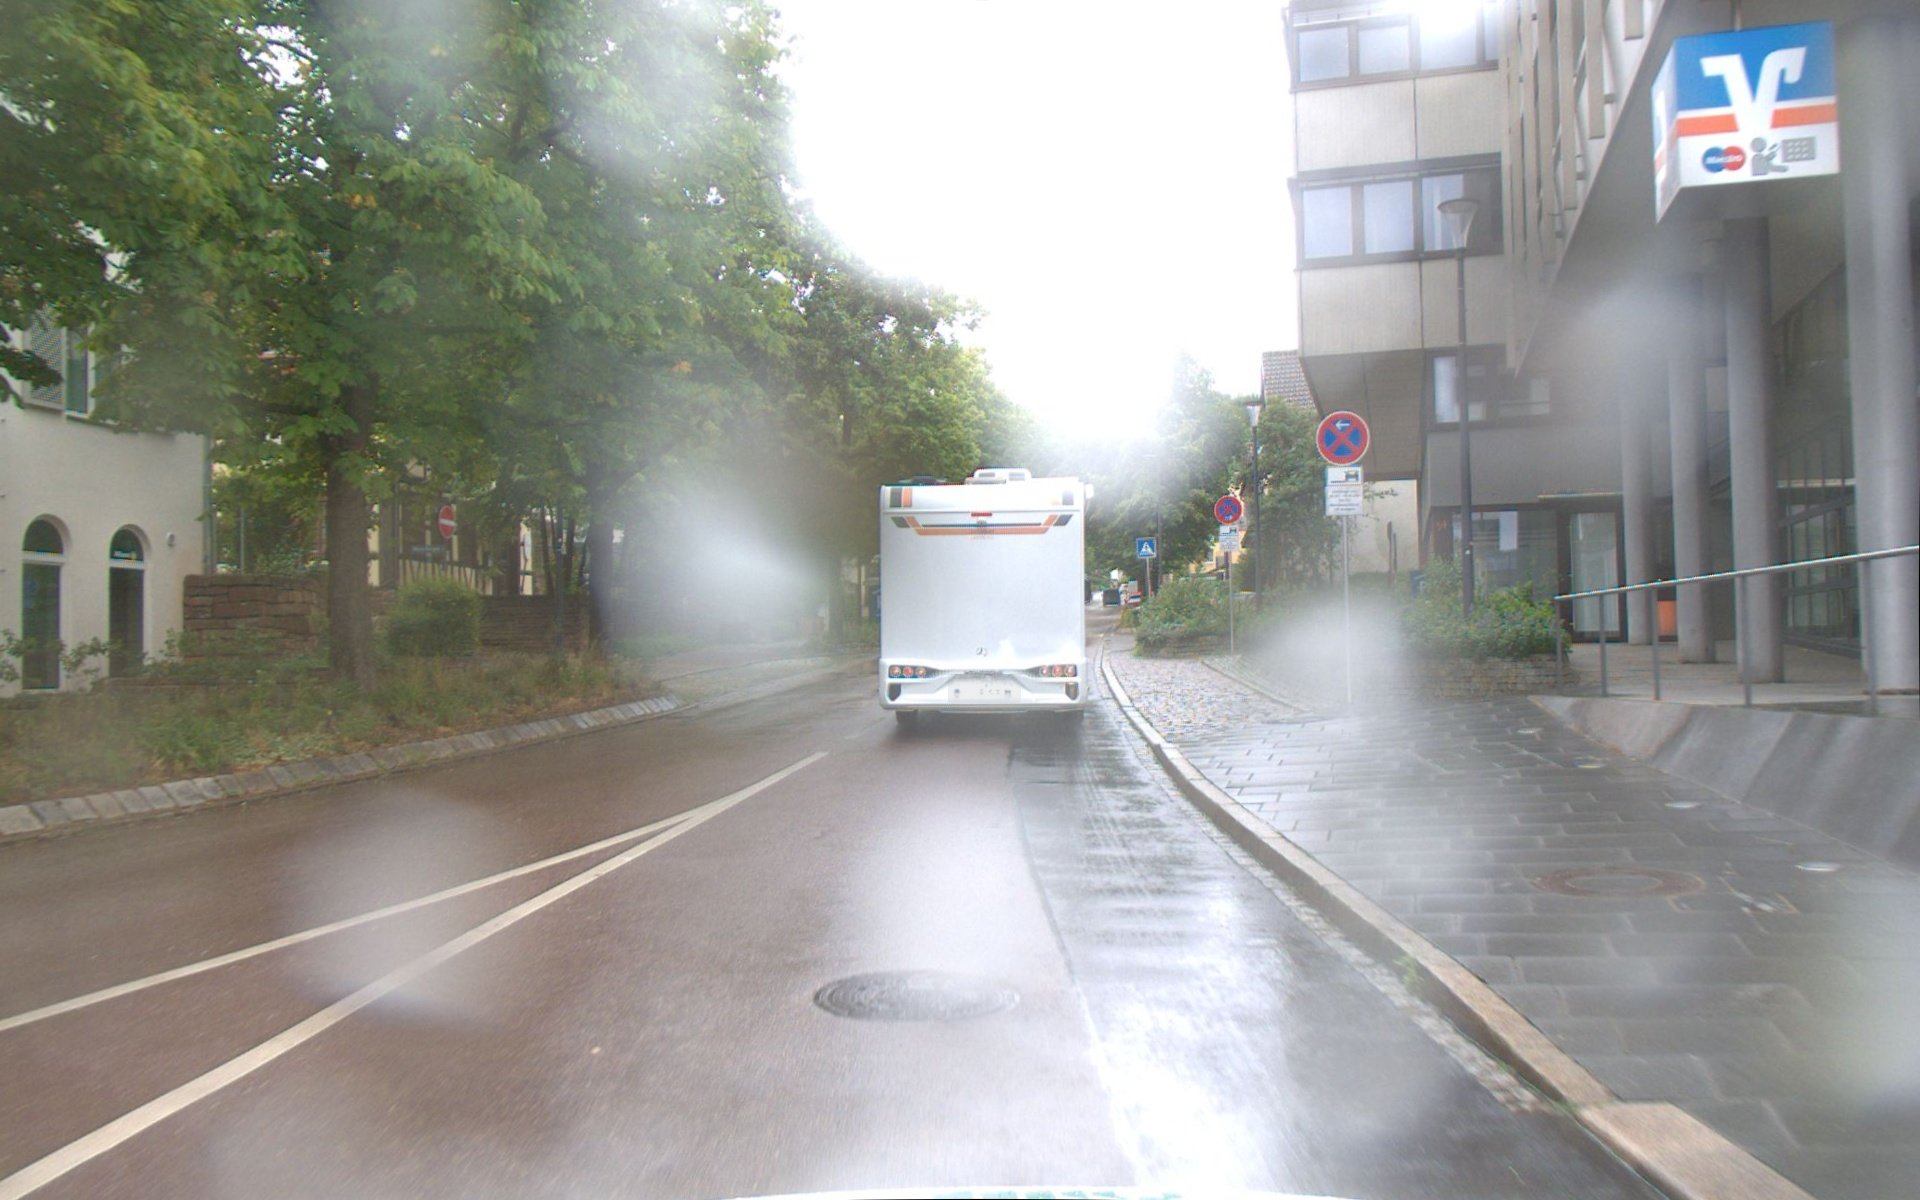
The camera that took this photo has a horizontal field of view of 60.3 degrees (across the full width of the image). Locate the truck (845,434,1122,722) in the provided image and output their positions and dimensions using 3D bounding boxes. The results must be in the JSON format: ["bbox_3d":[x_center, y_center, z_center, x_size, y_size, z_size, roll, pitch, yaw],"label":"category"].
[{"bbox_3d":[0.523,-0.168,20.052,2.746,2.846,6.110,-2,-1,6],"label":"truck"}]

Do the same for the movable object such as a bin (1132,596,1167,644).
[{"bbox_3d":[4.723,0.497,41.204,0.689,1.144,0.571,-3,-1,22],"label":"movable object such as a bin"}]

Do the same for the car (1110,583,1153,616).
[{"bbox_3d":[8.245,-0.038,79.248,1.816,1.498,4.369,0,0,9],"label":"car"}]
